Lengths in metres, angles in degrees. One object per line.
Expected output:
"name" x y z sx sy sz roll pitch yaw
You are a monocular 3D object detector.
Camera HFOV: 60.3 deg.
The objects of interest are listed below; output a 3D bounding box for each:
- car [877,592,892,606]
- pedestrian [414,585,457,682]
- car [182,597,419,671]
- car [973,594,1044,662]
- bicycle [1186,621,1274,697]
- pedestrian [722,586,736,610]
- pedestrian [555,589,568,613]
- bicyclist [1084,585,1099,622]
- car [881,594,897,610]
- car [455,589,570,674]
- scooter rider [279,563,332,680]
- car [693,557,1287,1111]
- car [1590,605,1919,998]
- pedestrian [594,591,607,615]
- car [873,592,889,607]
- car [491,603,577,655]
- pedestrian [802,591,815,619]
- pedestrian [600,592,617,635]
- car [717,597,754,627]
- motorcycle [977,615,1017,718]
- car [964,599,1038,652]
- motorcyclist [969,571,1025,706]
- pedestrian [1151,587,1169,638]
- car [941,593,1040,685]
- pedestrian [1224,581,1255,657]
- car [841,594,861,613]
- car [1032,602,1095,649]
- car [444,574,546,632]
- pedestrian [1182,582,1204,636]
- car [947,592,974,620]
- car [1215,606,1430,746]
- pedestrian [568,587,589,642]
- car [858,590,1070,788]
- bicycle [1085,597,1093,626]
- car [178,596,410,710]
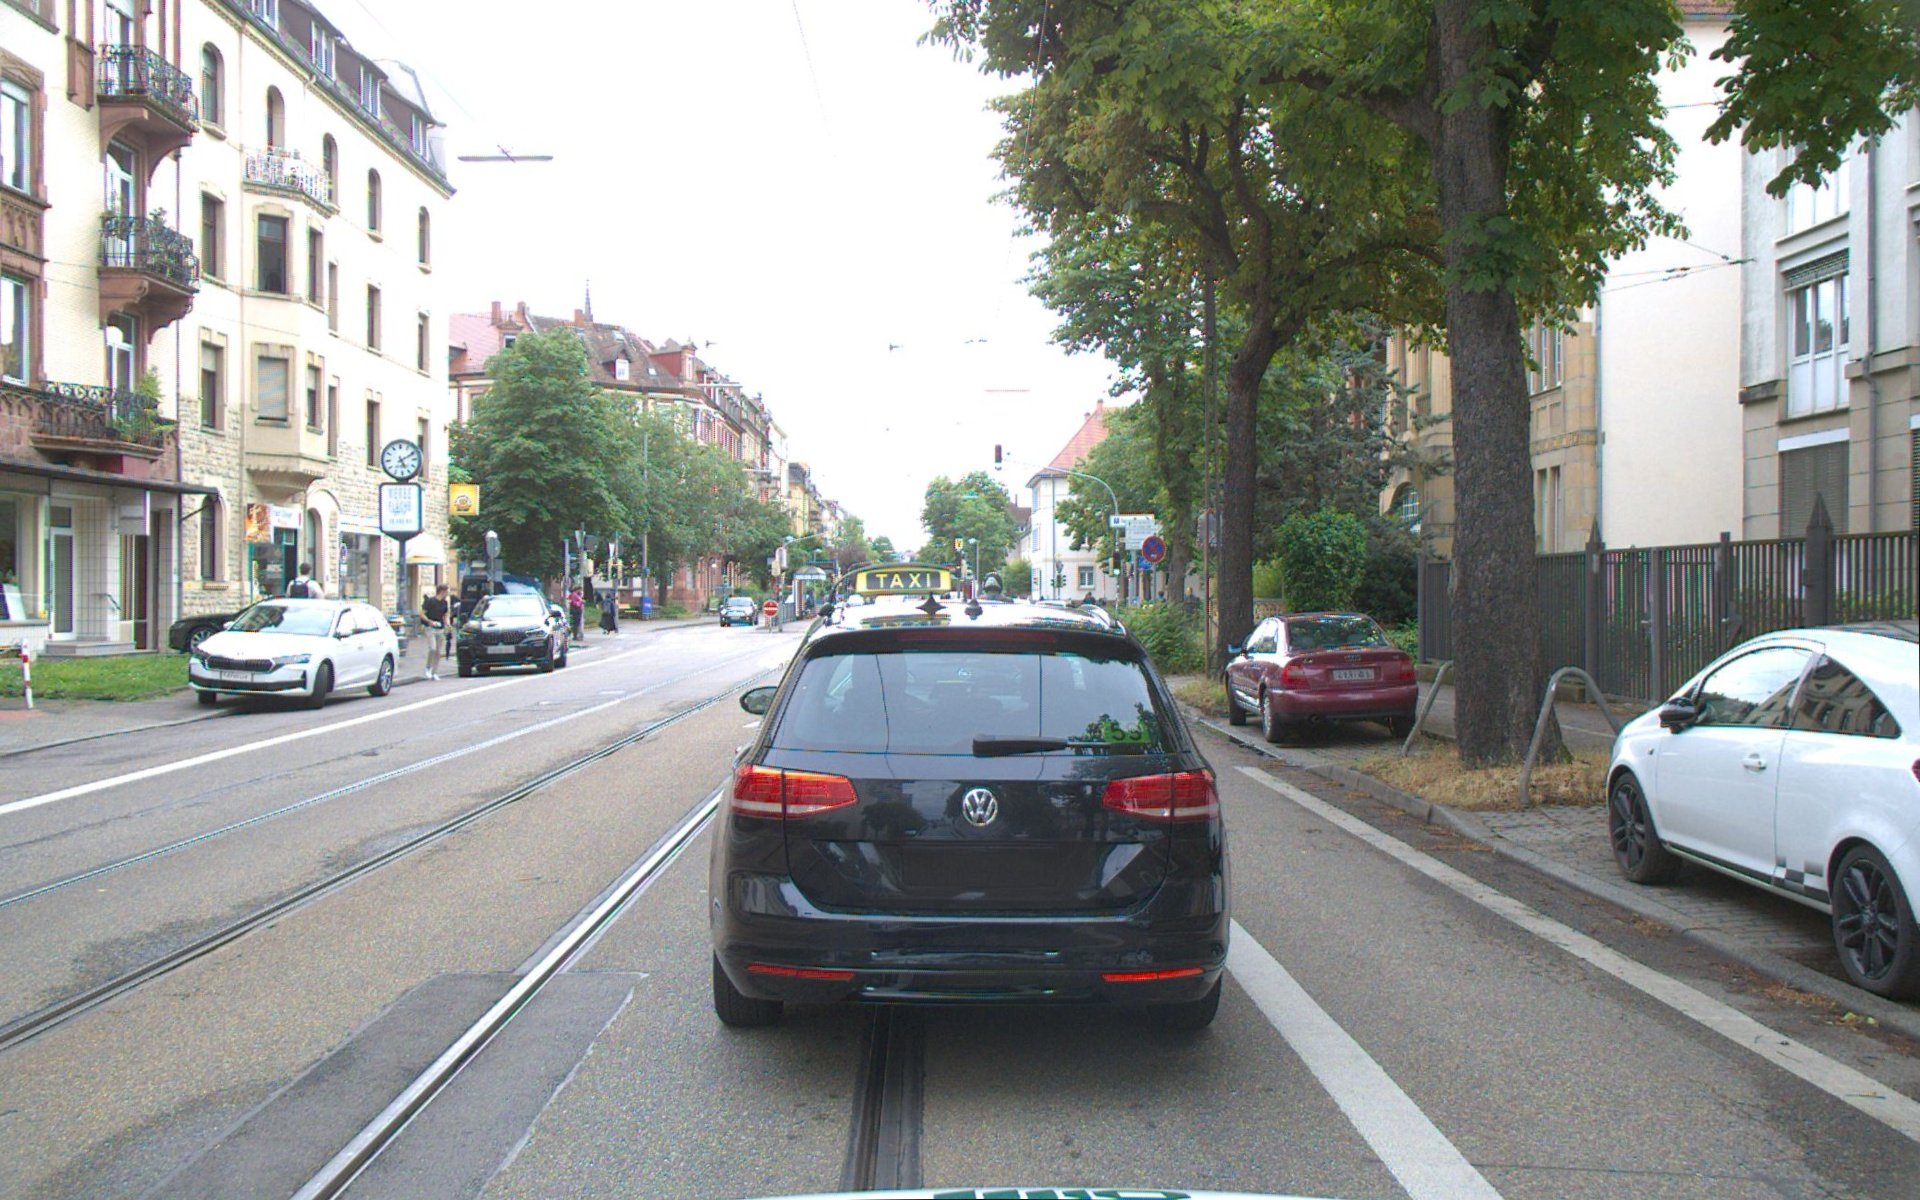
"car" -8.731 -0.126 191.871 1.686 1.651 3.862 0 0 -1
"pedestrian" -10.366 0.657 32.697 0.660 1.876 0.874 -1 0 -28
"car" -14.214 0.718 35.853 4.340 1.394 1.878 2 0 -6
"car" 1.148 0.677 40.753 1.574 1.583 3.577 1 0 -1
"bicycle" 4.487 0.969 27.399 0.426 1.219 1.891 0 -1 44
"pedestrian" -15.106 -0.149 108.169 0.577 1.547 0.647 0 0 35
"pedestrian" -25.922 0.084 107.555 0.577 1.547 0.647 0 0 35
"bicyclist" 5.765 0.143 72.435 0.637 1.596 0.696 0 0 6
"car" -9.080 0.229 212.072 1.953 2.049 3.998 1 0 -2
"car" -9.710 0.643 36.210 1.849 1.640 4.876 -3 0 -9
"scooter rider" -11.579 0.372 29.278 0.629 2.049 0.757 0 0 -1
"car" 0.062 0.660 6.717 1.688 1.573 3.999 0 0 -1
"car" 4.529 0.798 7.891 1.569 1.460 3.776 -2 0 0
"pedestrian" -23.244 0.176 106.902 0.577 1.547 0.647 0 0 35
"car" -8.489 -0.070 178.174 1.686 1.651 3.862 0 0 -1
"car" -12.505 0.824 48.790 1.616 1.385 4.127 2 0 -3
"pedestrian" -8.631 0.277 94.262 0.699 1.547 0.590 0 0 1
"pedestrian" -14.062 0.534 66.162 0.577 1.692 0.838 0 0 -4
"car" -11.445 0.609 84.525 1.576 1.447 3.484 -1 0 -4
"motorcycle" 0.469 0.833 21.453 0.437 1.257 1.906 0 0 -1
"car" 1.216 0.696 47.298 1.852 1.432 4.003 -1 0 5
"motorcyclist" 0.476 0.487 21.562 0.688 1.722 0.804 0 0 -1
"pedestrian" 7.471 0.458 61.668 0.503 1.863 0.418 -3 0 15
"car" 0.496 0.662 30.408 1.688 1.573 3.999 0 0 -1
"pedestrian" 6.893 0.456 40.802 0.619 1.846 0.726 0 0 -3
"car" -9.919 0.324 150.916 1.686 1.651 3.862 -1 0 -1
"car" 3.649 0.885 58.893 1.953 1.605 3.999 1 0 -1
"car" -20.402 0.118 72.437 2.168 2.460 5.295 0 0 -43
"pedestrian" 8.177 0.309 58.054 0.573 1.863 0.604 -3 0 2
"car" 0.052 0.479 126.663 1.991 2.049 3.999 1 0 -1
"car" 4.241 0.824 19.954 1.569 1.423 4.226 -2 0 -1
"pedestrian" -13.233 0.498 57.418 0.610 1.875 0.609 0 0 -3
"car" 0.007 0.706 15.219 1.688 1.573 3.999 0 0 -1
"bicycle" 5.641 0.503 72.317 0.291 1.244 1.431 0 0 6
"car" -9.754 0.714 24.638 1.712 1.510 4.607 0 0 -2
